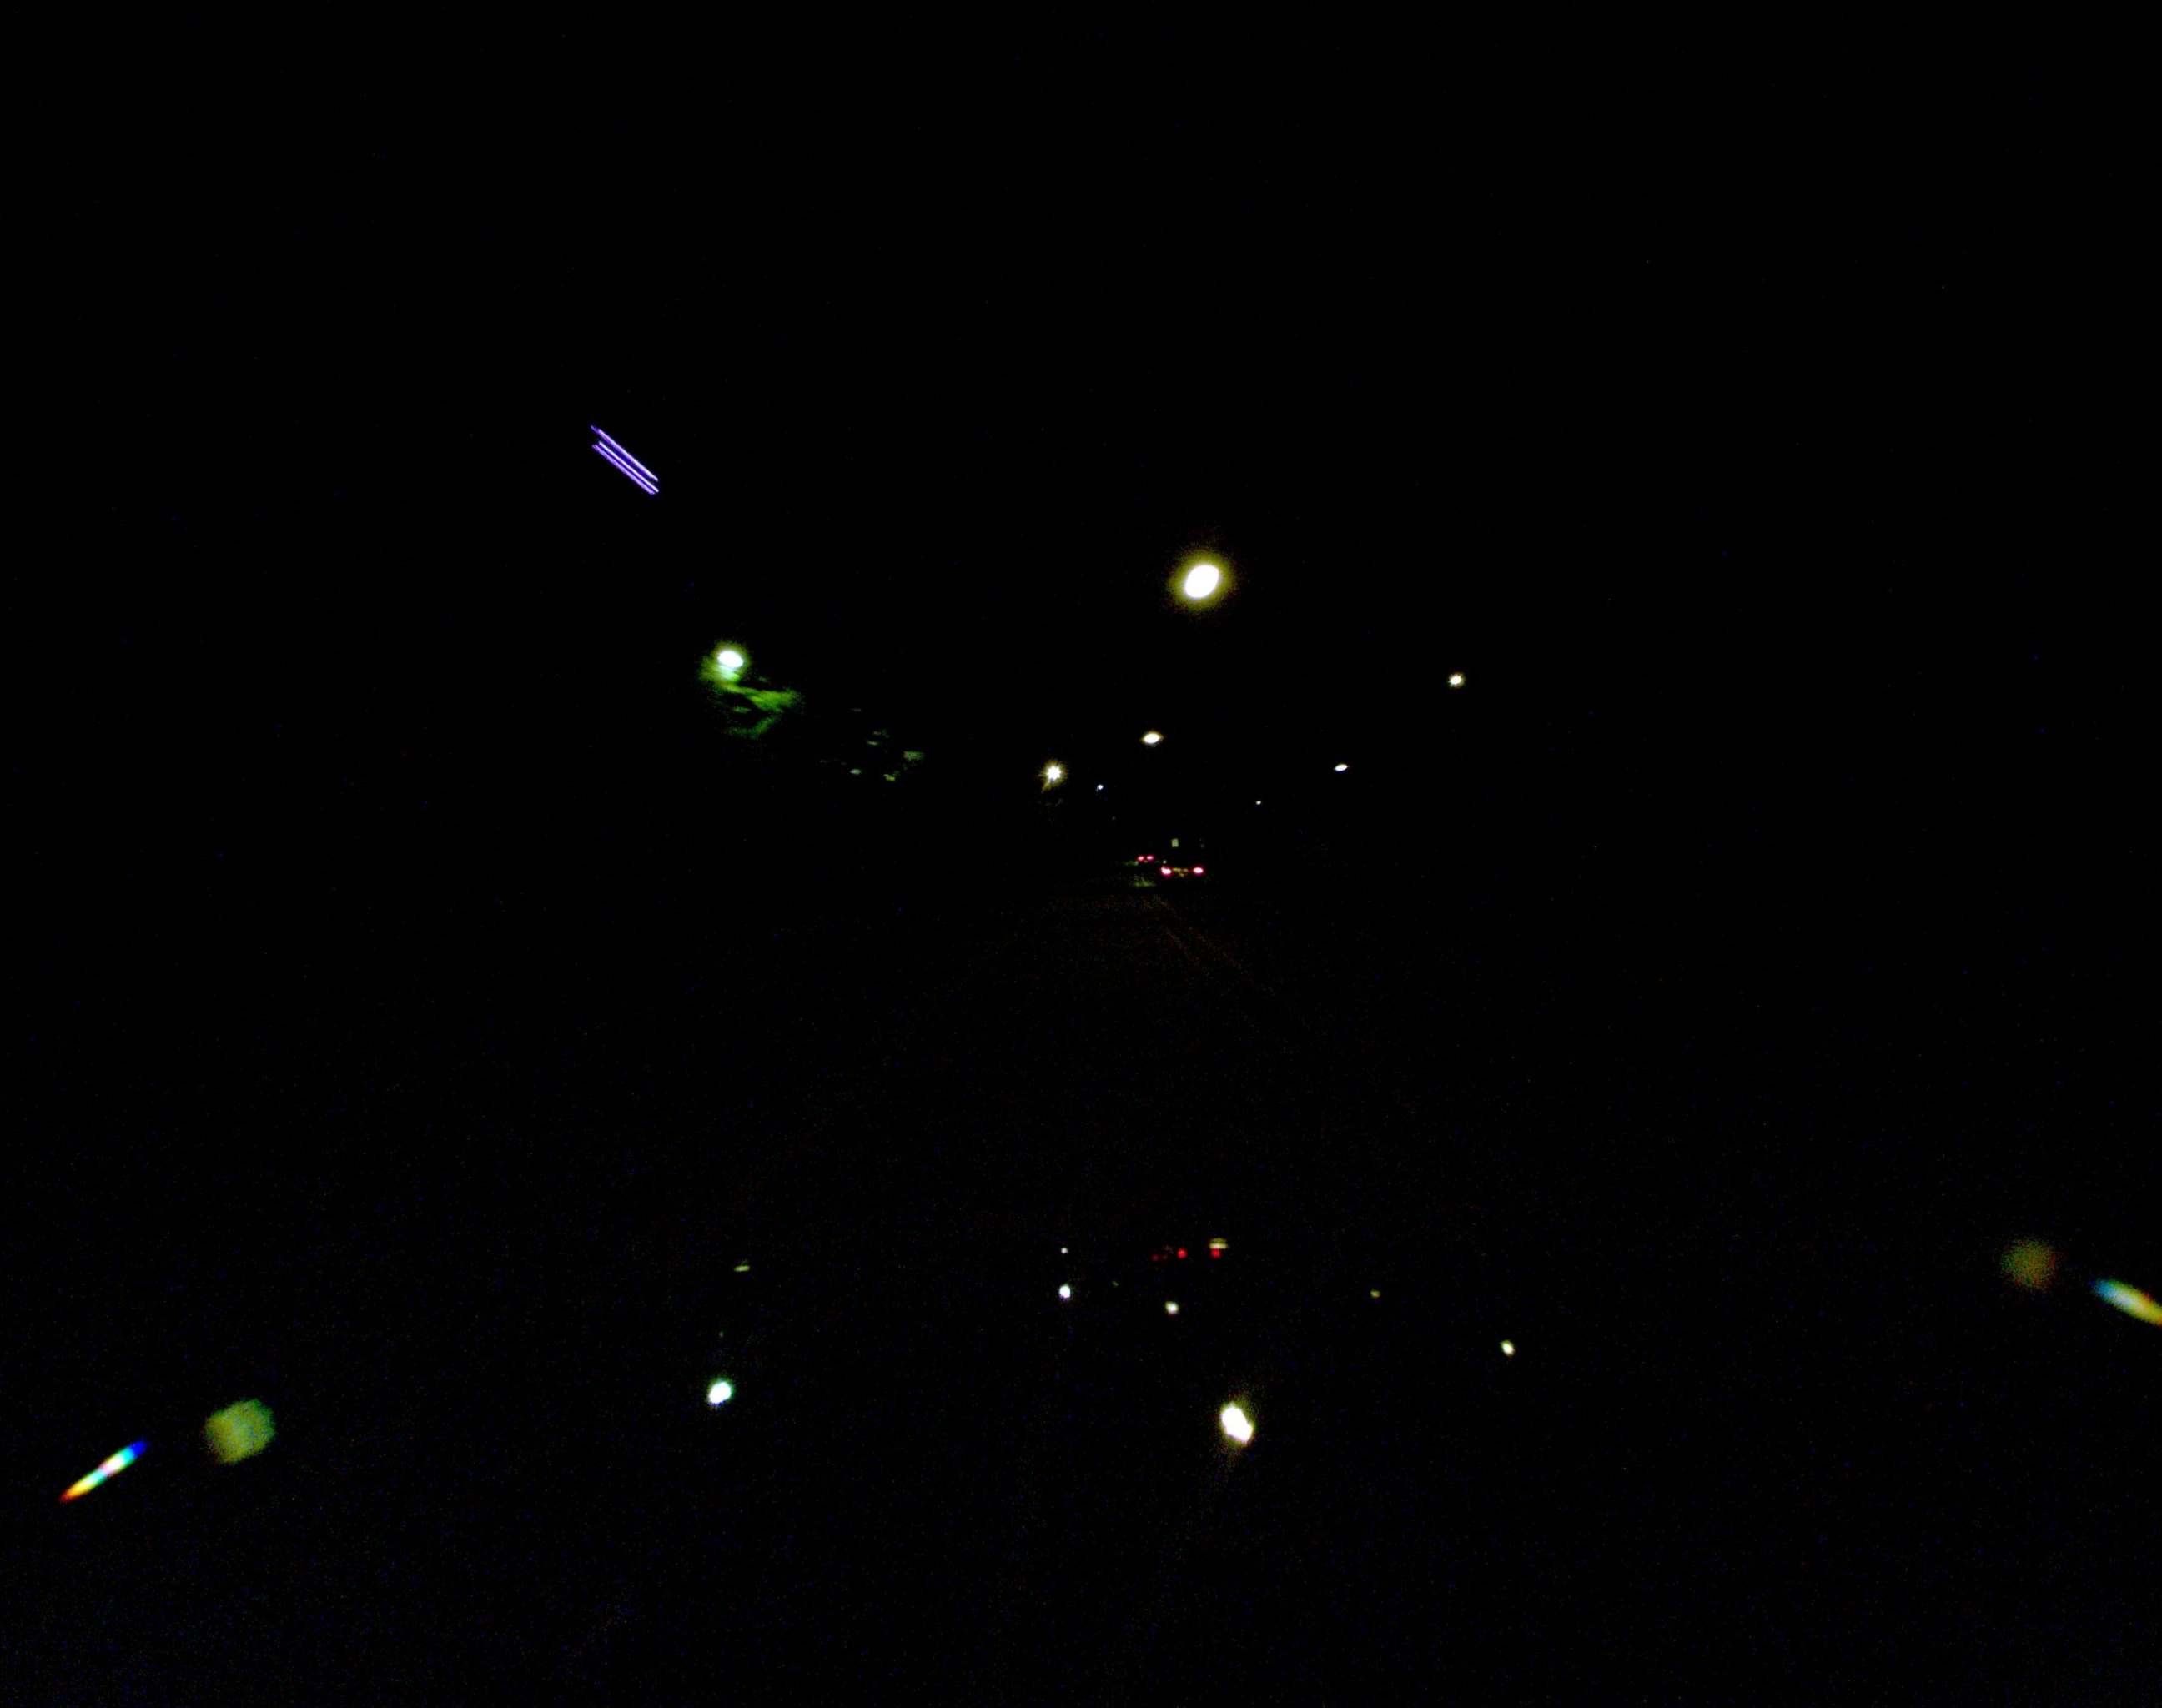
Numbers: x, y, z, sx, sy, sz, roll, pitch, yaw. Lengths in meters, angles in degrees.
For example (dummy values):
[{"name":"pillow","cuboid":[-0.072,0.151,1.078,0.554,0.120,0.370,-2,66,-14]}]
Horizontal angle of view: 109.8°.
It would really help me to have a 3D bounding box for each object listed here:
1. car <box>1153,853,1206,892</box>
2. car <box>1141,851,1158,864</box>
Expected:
[{"name":"car","cuboid":[4.202,0.743,32.881,1.792,1.439,4.171,-3,1,2]},{"name":"car","cuboid":[9.155,0.501,101.018,1.885,1.545,4.220,-2,1,9]}]
